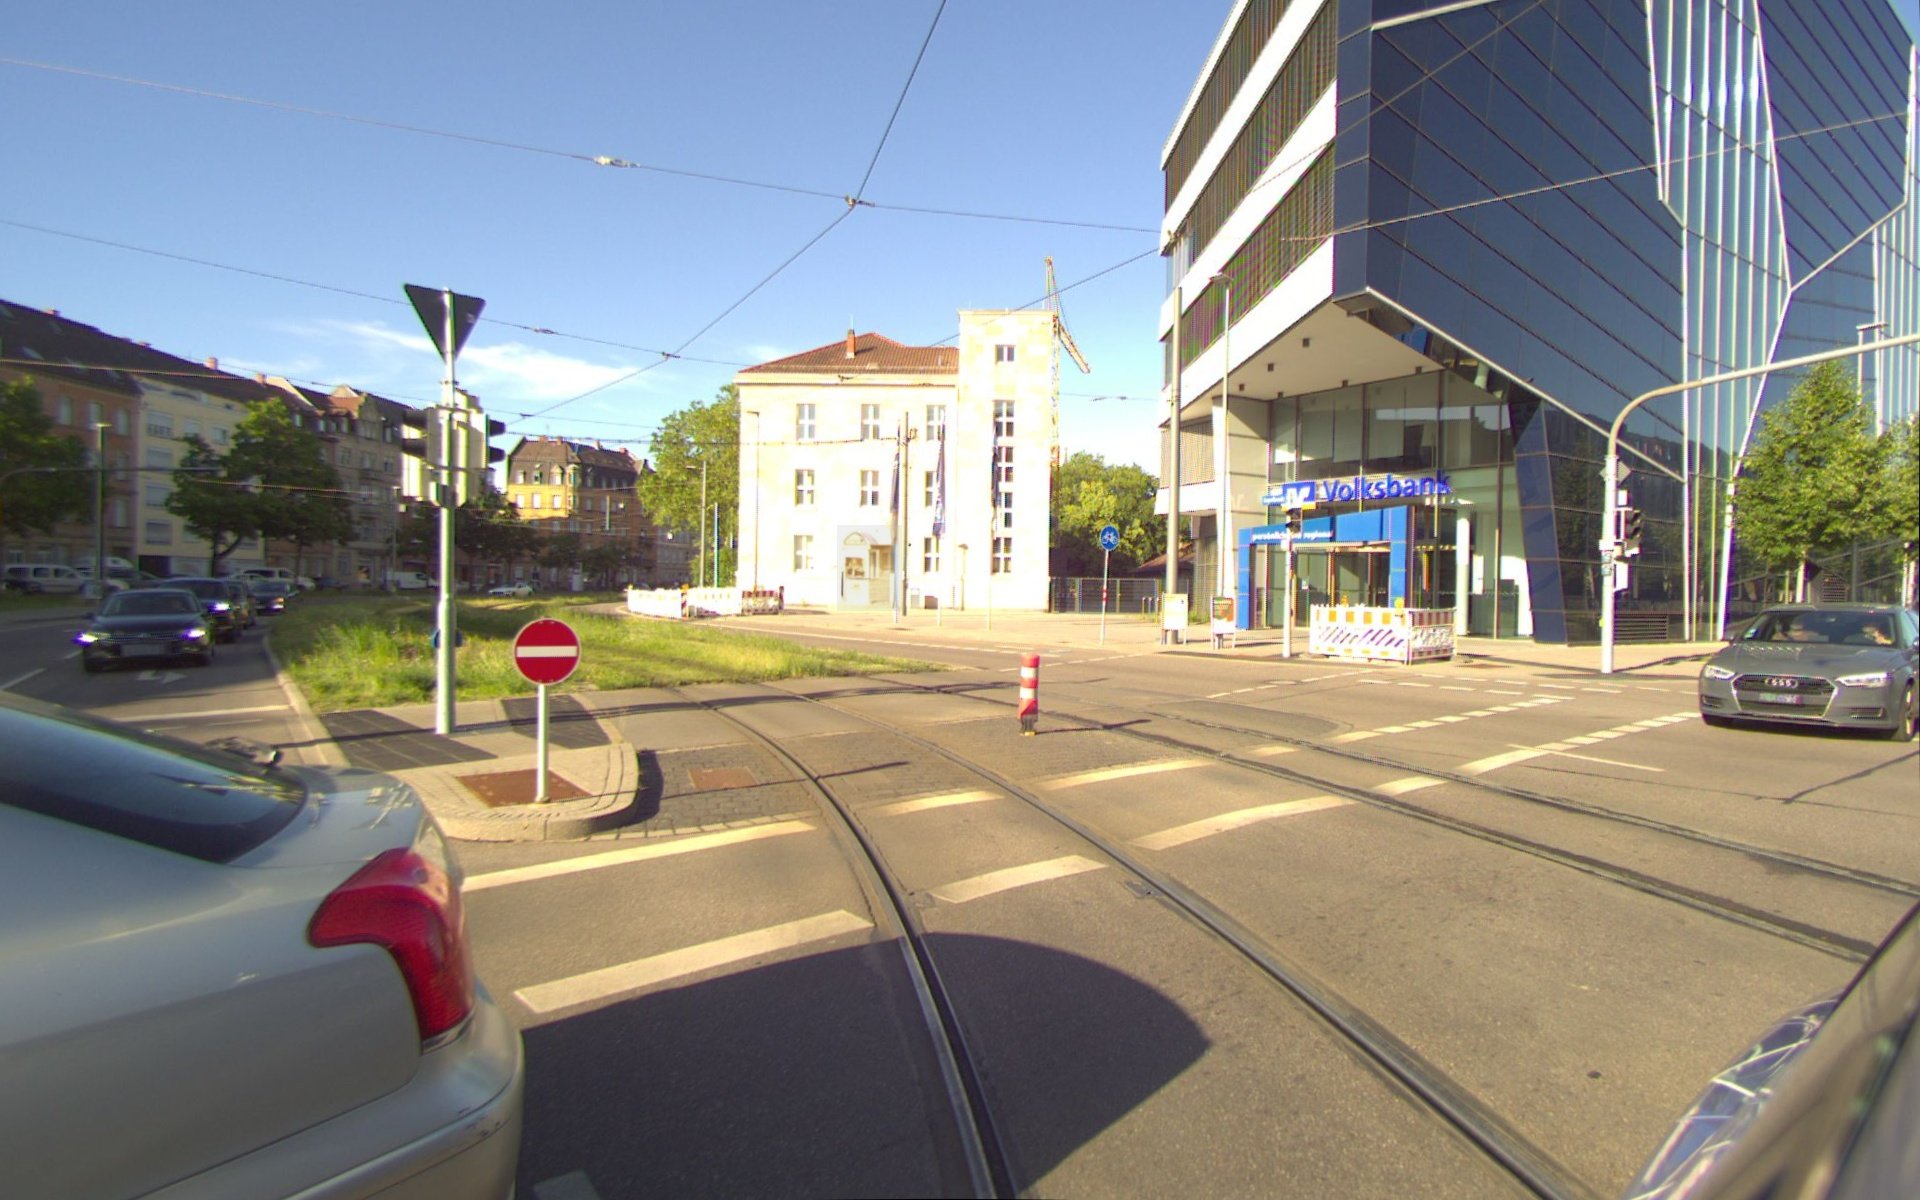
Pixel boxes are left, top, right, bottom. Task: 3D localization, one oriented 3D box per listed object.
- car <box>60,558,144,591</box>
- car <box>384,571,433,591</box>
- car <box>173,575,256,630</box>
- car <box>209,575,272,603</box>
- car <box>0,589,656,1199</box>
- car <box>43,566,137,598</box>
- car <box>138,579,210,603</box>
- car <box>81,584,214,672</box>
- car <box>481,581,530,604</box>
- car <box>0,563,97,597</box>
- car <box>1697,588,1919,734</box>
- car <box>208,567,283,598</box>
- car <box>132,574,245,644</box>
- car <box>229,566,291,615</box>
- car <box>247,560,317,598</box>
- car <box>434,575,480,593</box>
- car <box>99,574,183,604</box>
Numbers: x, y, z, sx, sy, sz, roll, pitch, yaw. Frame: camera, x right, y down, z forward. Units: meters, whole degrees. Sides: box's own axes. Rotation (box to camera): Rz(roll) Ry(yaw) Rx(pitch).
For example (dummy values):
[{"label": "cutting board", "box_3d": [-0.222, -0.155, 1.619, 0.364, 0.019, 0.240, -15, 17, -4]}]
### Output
[{"label": "car", "box_3d": [-59.460, -1.763, 70.264, 1.968, 2.217, 4.177, 1, 1, 10]}, {"label": "car", "box_3d": [-50.665, -1.724, 92.990, 3.920, 1.794, 2.002, 0, 1, -30]}, {"label": "car", "box_3d": [-23.688, 0.085, 32.282, 1.962, 1.638, 4.100, 1, -1, -34]}, {"label": "car", "box_3d": [-58.279, -0.891, 82.048, 1.966, 2.217, 3.992, 1, 1, 7]}, {"label": "car", "box_3d": [-2.788, 0.725, 0.845, 4.546, 1.500, 1.749, 1, -1, -40]}, {"label": "car", "box_3d": [-50.995, -1.040, 59.426, 3.923, 1.794, 2.000, 0, 1, -35]}, {"label": "car", "box_3d": [-59.133, -0.719, 76.270, 1.963, 1.743, 4.411, 0, 1, 2]}, {"label": "car", "box_3d": [-15.336, 0.466, 19.286, 1.737, 1.417, 4.253, -3, 2, -36]}, {"label": "car", "box_3d": [-36.393, -0.595, 81.151, 1.964, 1.728, 3.994, -1, -2, 4]}, {"label": "car", "box_3d": [-50.345, -1.102, 55.826, 3.923, 1.794, 2.000, 0, 1, -35]}, {"label": "car", "box_3d": [10.367, 0.629, 11.780, 4.185, 1.410, 1.750, 1, -2, -37]}, {"label": "car", "box_3d": [-50.282, -1.231, 71.276, 3.917, 1.794, 2.003, 6, -2, -26]}, {"label": "car", "box_3d": [-19.818, 0.178, 26.179, 1.961, 1.638, 4.544, 1, 1, -33]}, {"label": "car", "box_3d": [-30.509, -0.458, 44.208, 1.960, 2.039, 4.004, 0, 1, -31]}, {"label": "car", "box_3d": [-50.383, -1.533, 75.299, 3.917, 2.438, 2.003, 6, -2, -26]}, {"label": "car", "box_3d": [-49.660, -1.562, 99.870, 3.920, 1.794, 2.002, 0, 1, -30]}, {"label": "car", "box_3d": [-51.194, -0.686, 63.383, 3.923, 1.794, 2.000, 0, 1, -35]}]
